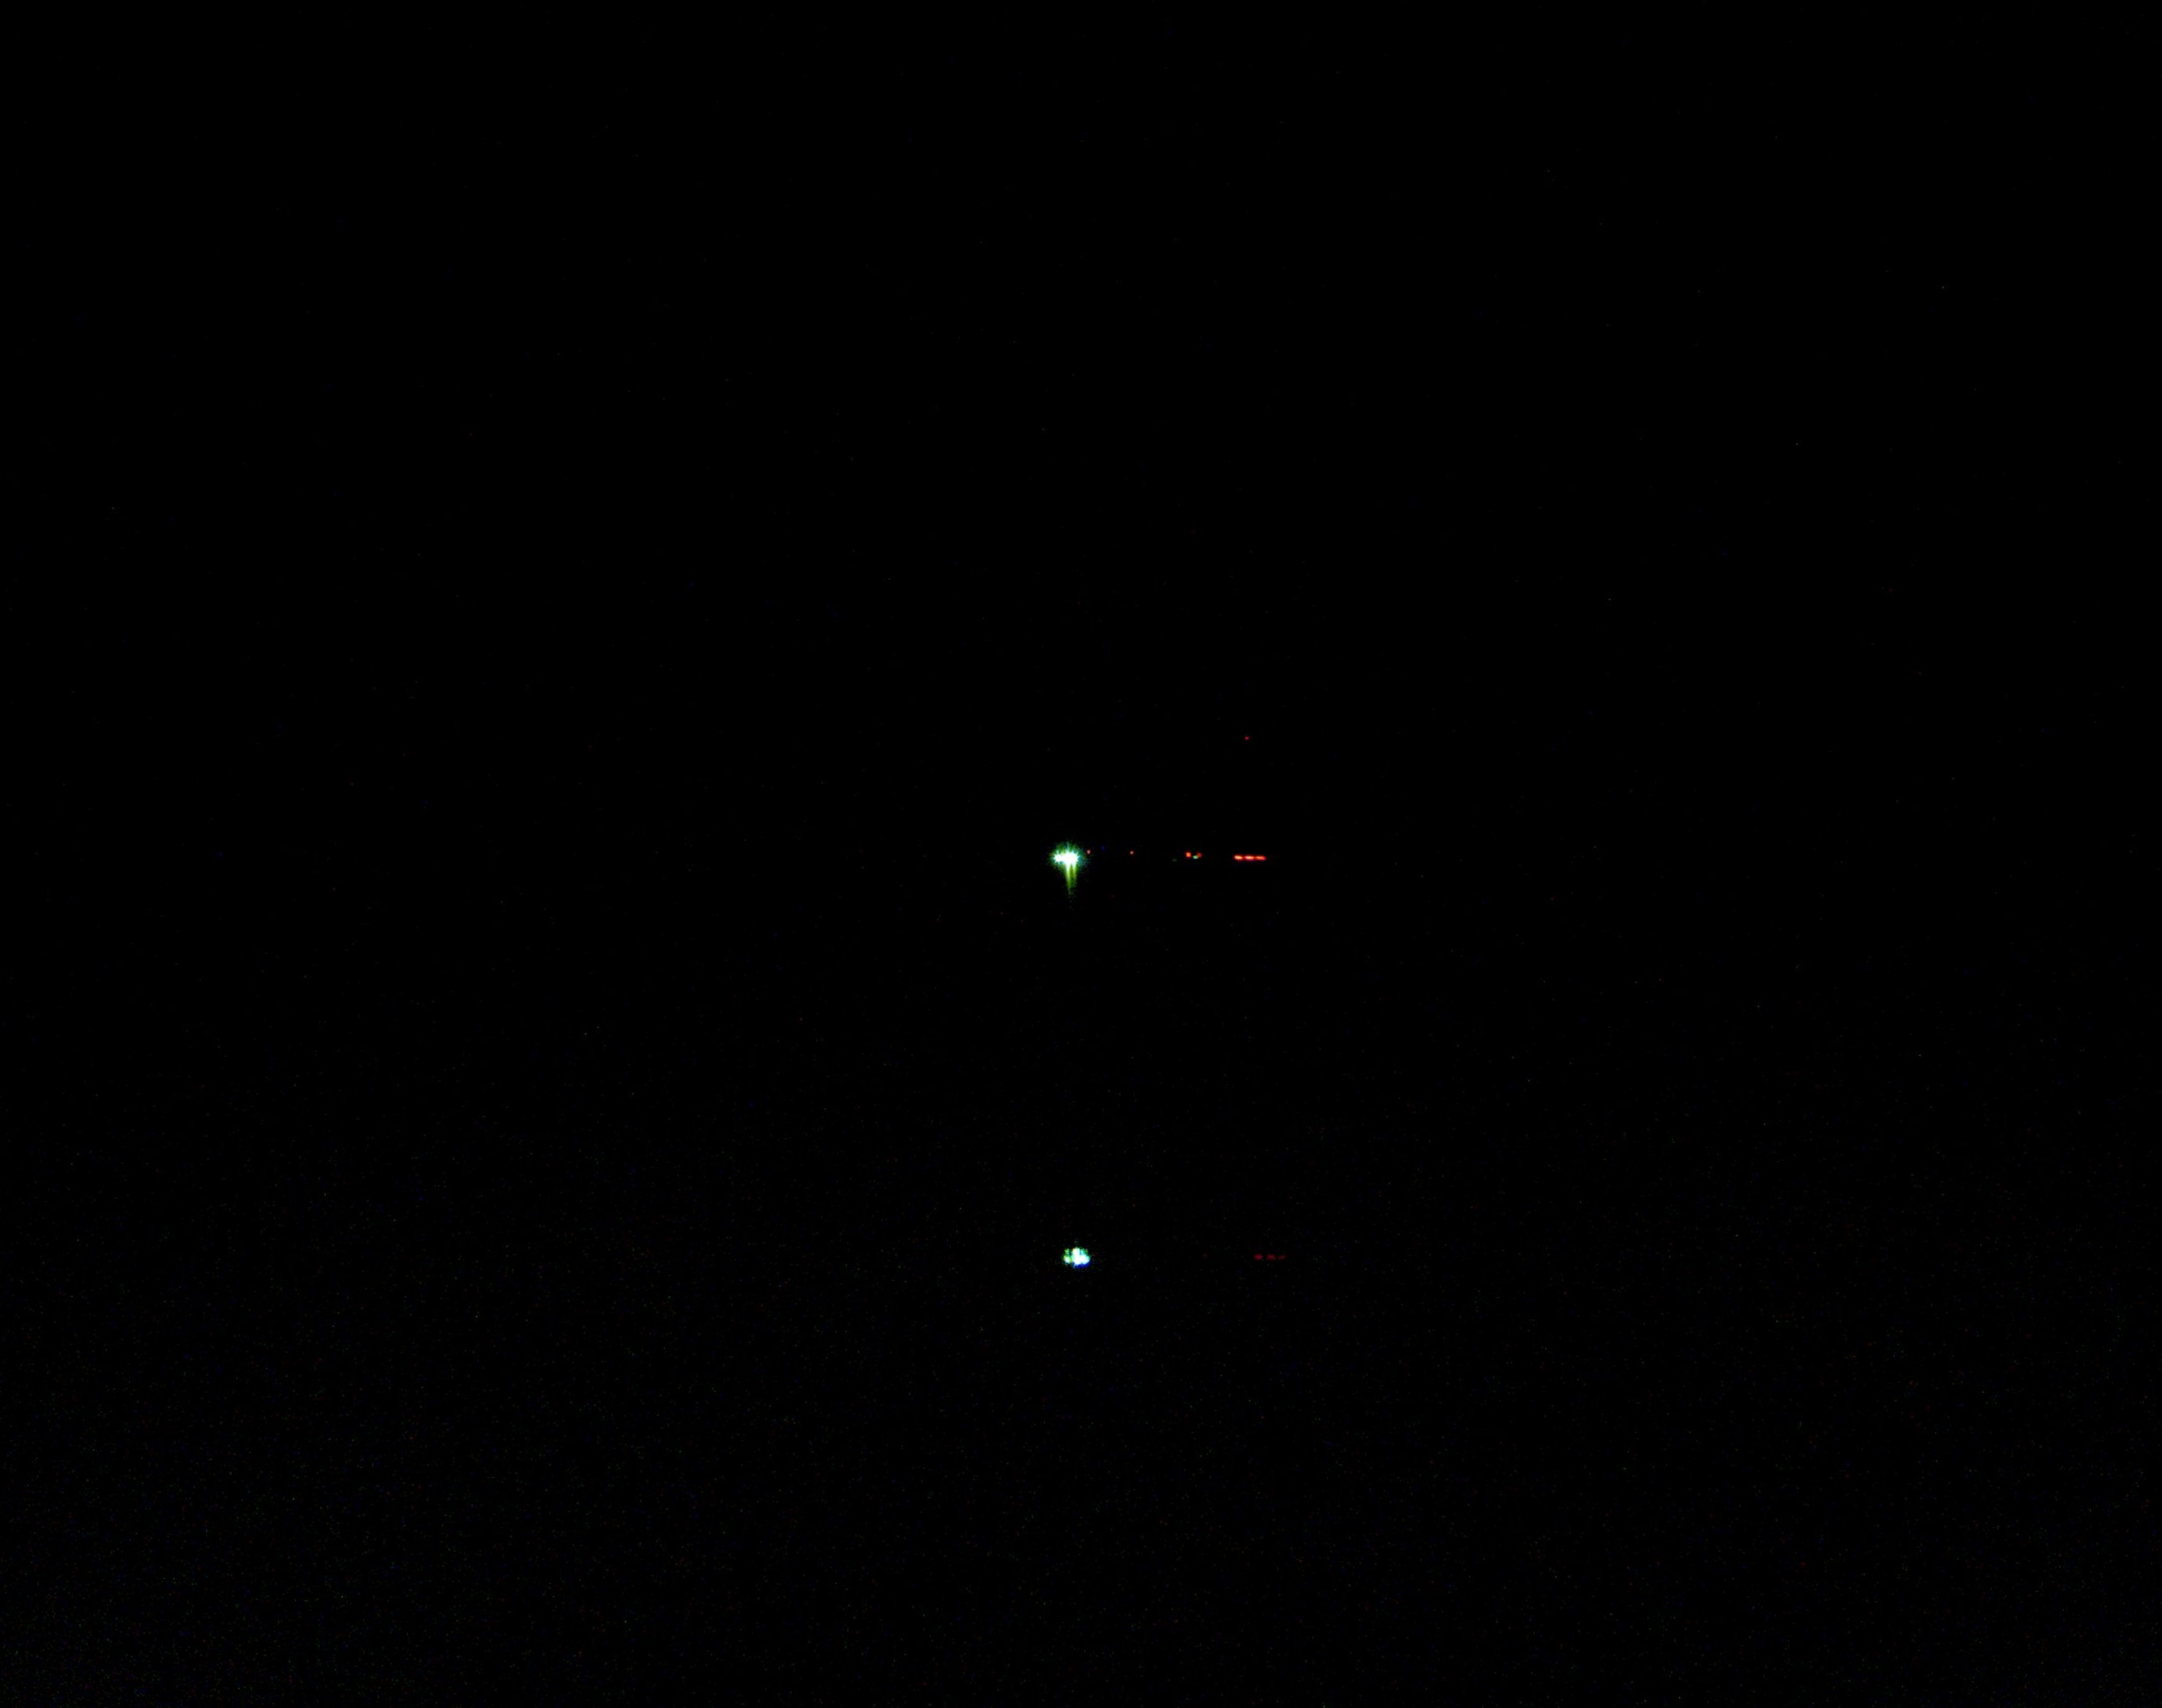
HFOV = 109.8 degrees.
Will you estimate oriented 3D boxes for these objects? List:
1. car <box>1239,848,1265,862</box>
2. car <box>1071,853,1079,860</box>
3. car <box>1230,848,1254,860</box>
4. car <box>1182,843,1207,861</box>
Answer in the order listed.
[{"bbox_3d":[19.099,0.118,84.961,1.866,1.489,4.704,-1,0,0],"label":"car"},{"bbox_3d":[-1.561,0.622,192.990,1.845,1.474,4.294,-2,-1,2],"label":"car"},{"bbox_3d":[22.869,0.009,108.160,2.056,1.589,5.076,-1,0,-2],"label":"car"},{"bbox_3d":[19.139,-0.298,128.358,2.961,2.840,7.716,-1,0,-1],"label":"car"}]
